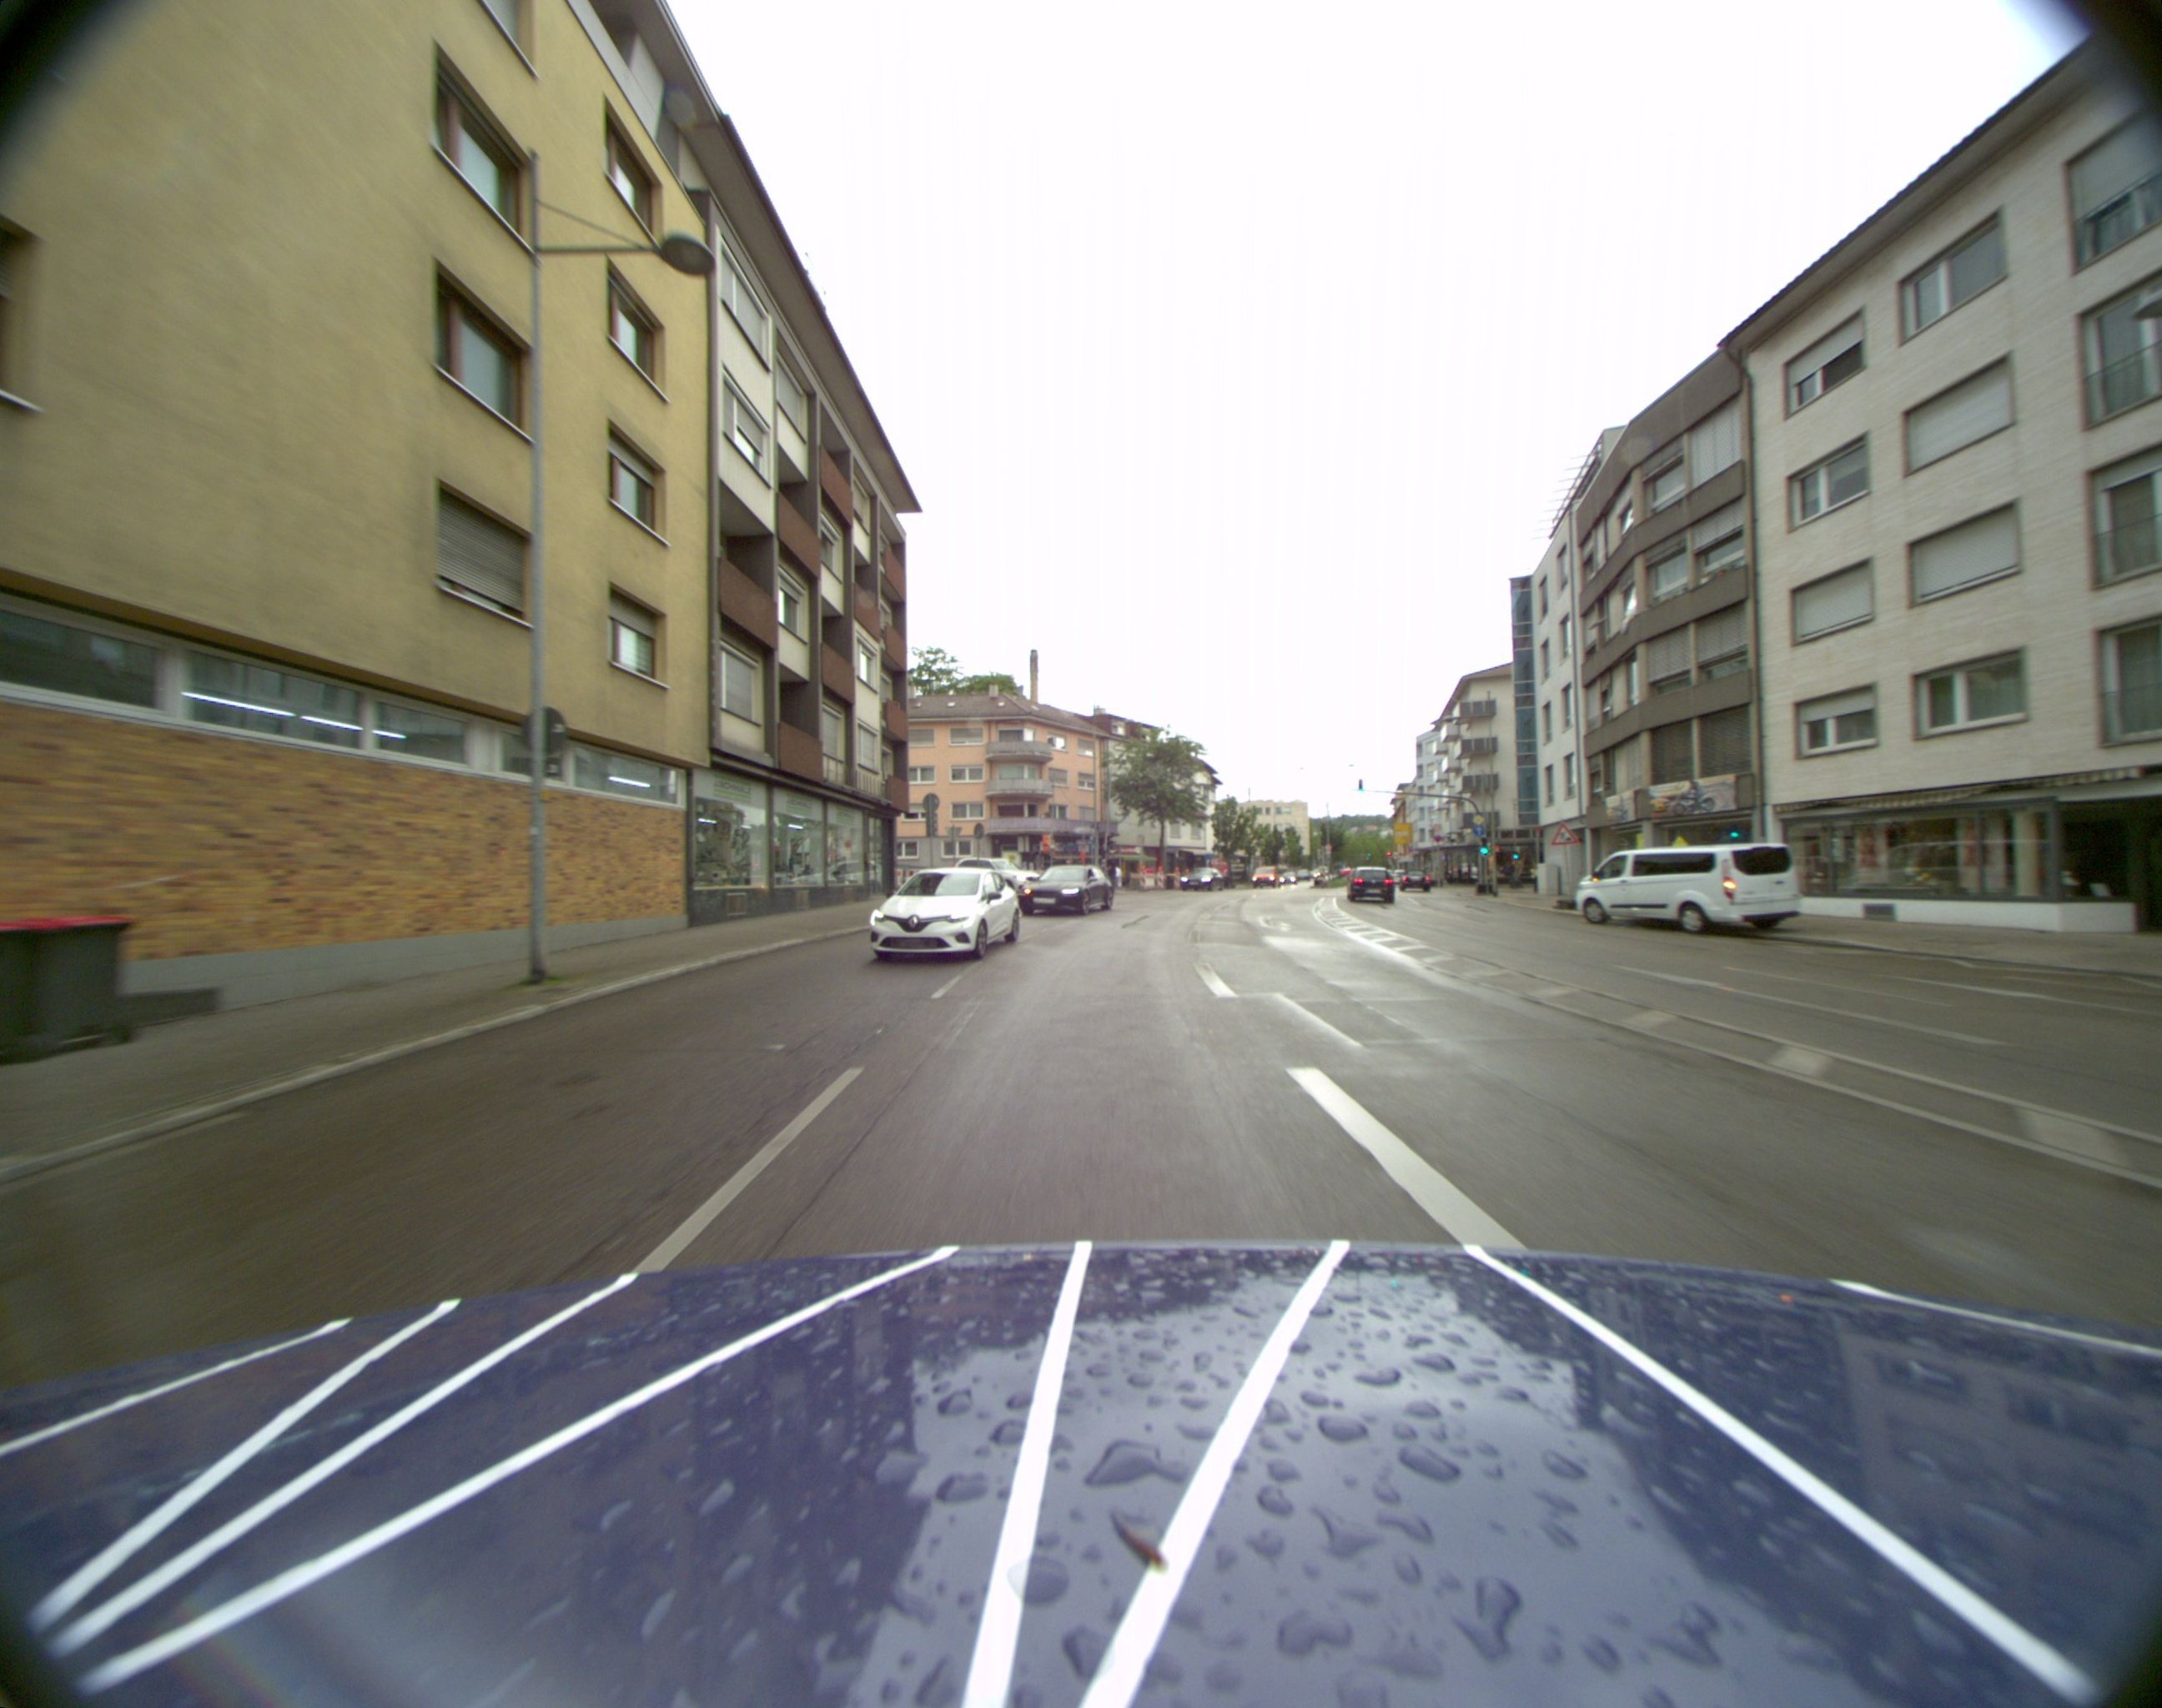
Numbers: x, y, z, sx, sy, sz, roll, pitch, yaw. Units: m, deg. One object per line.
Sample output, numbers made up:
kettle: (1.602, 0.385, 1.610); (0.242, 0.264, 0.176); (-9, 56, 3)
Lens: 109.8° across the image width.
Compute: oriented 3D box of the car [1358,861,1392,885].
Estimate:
car: (19.376, 1.214, 50.085); (1.985, 1.450, 4.493); (1, -1, 21)

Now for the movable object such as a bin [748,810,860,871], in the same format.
movable object such as a bin: (-19.302, -0.887, 53.241); (6.531, 3.615, 2.743); (5, -1, 0)

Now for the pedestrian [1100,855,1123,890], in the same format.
pedestrian: (1.658, 0.980, 41.423); (0.920, 1.850, 1.029); (0, 1, -20)

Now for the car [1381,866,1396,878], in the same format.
car: (42.195, 2.484, 104.268); (1.774, 1.514, 4.292); (0, -1, 23)

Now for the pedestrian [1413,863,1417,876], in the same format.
pedestrian: (46.108, 2.129, 104.949); (0.512, 1.678, 0.532); (1, 2, 21)

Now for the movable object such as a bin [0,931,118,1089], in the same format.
movable object such as a bin: (-8.118, 1.160, 5.789); (0.682, 1.070, 0.668); (-1, 0, 0)

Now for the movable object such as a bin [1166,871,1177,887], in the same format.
movable object such as a bin: (6.136, 1.686, 51.478); (0.621, 1.025, 0.532); (1, -2, 20)

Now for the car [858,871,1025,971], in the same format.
car: (-2.206, 1.021, 13.139); (1.679, 1.395, 4.003); (1, -1, 7)

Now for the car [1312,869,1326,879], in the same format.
car: (41.567, 3.411, 132.829); (1.996, 1.598, 4.006); (-3, -1, 21)

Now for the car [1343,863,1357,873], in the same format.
car: (43.258, 2.291, 122.127); (1.848, 1.584, 4.098); (0, -1, 22)

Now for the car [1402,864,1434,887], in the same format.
car: (21.380, 1.370, 48.345); (1.723, 1.391, 3.601); (-1, -2, 22)

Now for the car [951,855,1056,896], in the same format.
car: (-3.643, 0.971, 35.308); (4.783, 1.710, 2.005); (1, 0, 38)

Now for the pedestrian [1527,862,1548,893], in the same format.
pedestrian: (23.740, 1.227, 39.533); (0.834, 1.598, 0.624); (1, -1, -32)

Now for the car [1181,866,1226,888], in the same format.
car: (7.660, 1.467, 47.206); (1.809, 1.331, 4.286); (0, -2, 22)

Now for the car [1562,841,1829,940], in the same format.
car: (14.860, 0.794, 18.913); (2.125, 2.002, 5.126); (-3, 0, -5)

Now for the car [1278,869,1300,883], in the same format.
car: (23.490, 2.479, 85.684); (1.840, 1.433, 4.006); (-3, -1, 21)

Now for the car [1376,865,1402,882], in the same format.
car: (28.083, 1.734, 69.306); (1.930, 1.465, 4.611); (2, 0, 19)

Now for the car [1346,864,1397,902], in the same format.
car: (12.322, 1.182, 32.414); (1.685, 1.464, 4.006); (2, -1, 17)

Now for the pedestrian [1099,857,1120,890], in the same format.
pedestrian: (1.513, 1.014, 40.256); (0.822, 1.678, 0.792); (-1, 2, -26)

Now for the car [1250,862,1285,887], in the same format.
car: (17.025, 1.816, 68.992); (2.195, 2.073, 5.943); (-2, -1, 22)

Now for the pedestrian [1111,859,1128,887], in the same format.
pedestrian: (2.676, 1.300, 52.494); (0.659, 1.869, 0.991); (-1, 2, -37)

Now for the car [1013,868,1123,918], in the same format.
car: (-0.241, 1.126, 23.919); (2.037, 1.379, 5.301); (0, -1, 15)

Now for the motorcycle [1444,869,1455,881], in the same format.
motorcycle: (34.178, 1.928, 70.466); (0.669, 1.081, 2.199); (-3, -1, 20)

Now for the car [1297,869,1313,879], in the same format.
car: (31.908, 2.850, 108.226); (1.811, 1.334, 4.006); (-3, -1, 21)
